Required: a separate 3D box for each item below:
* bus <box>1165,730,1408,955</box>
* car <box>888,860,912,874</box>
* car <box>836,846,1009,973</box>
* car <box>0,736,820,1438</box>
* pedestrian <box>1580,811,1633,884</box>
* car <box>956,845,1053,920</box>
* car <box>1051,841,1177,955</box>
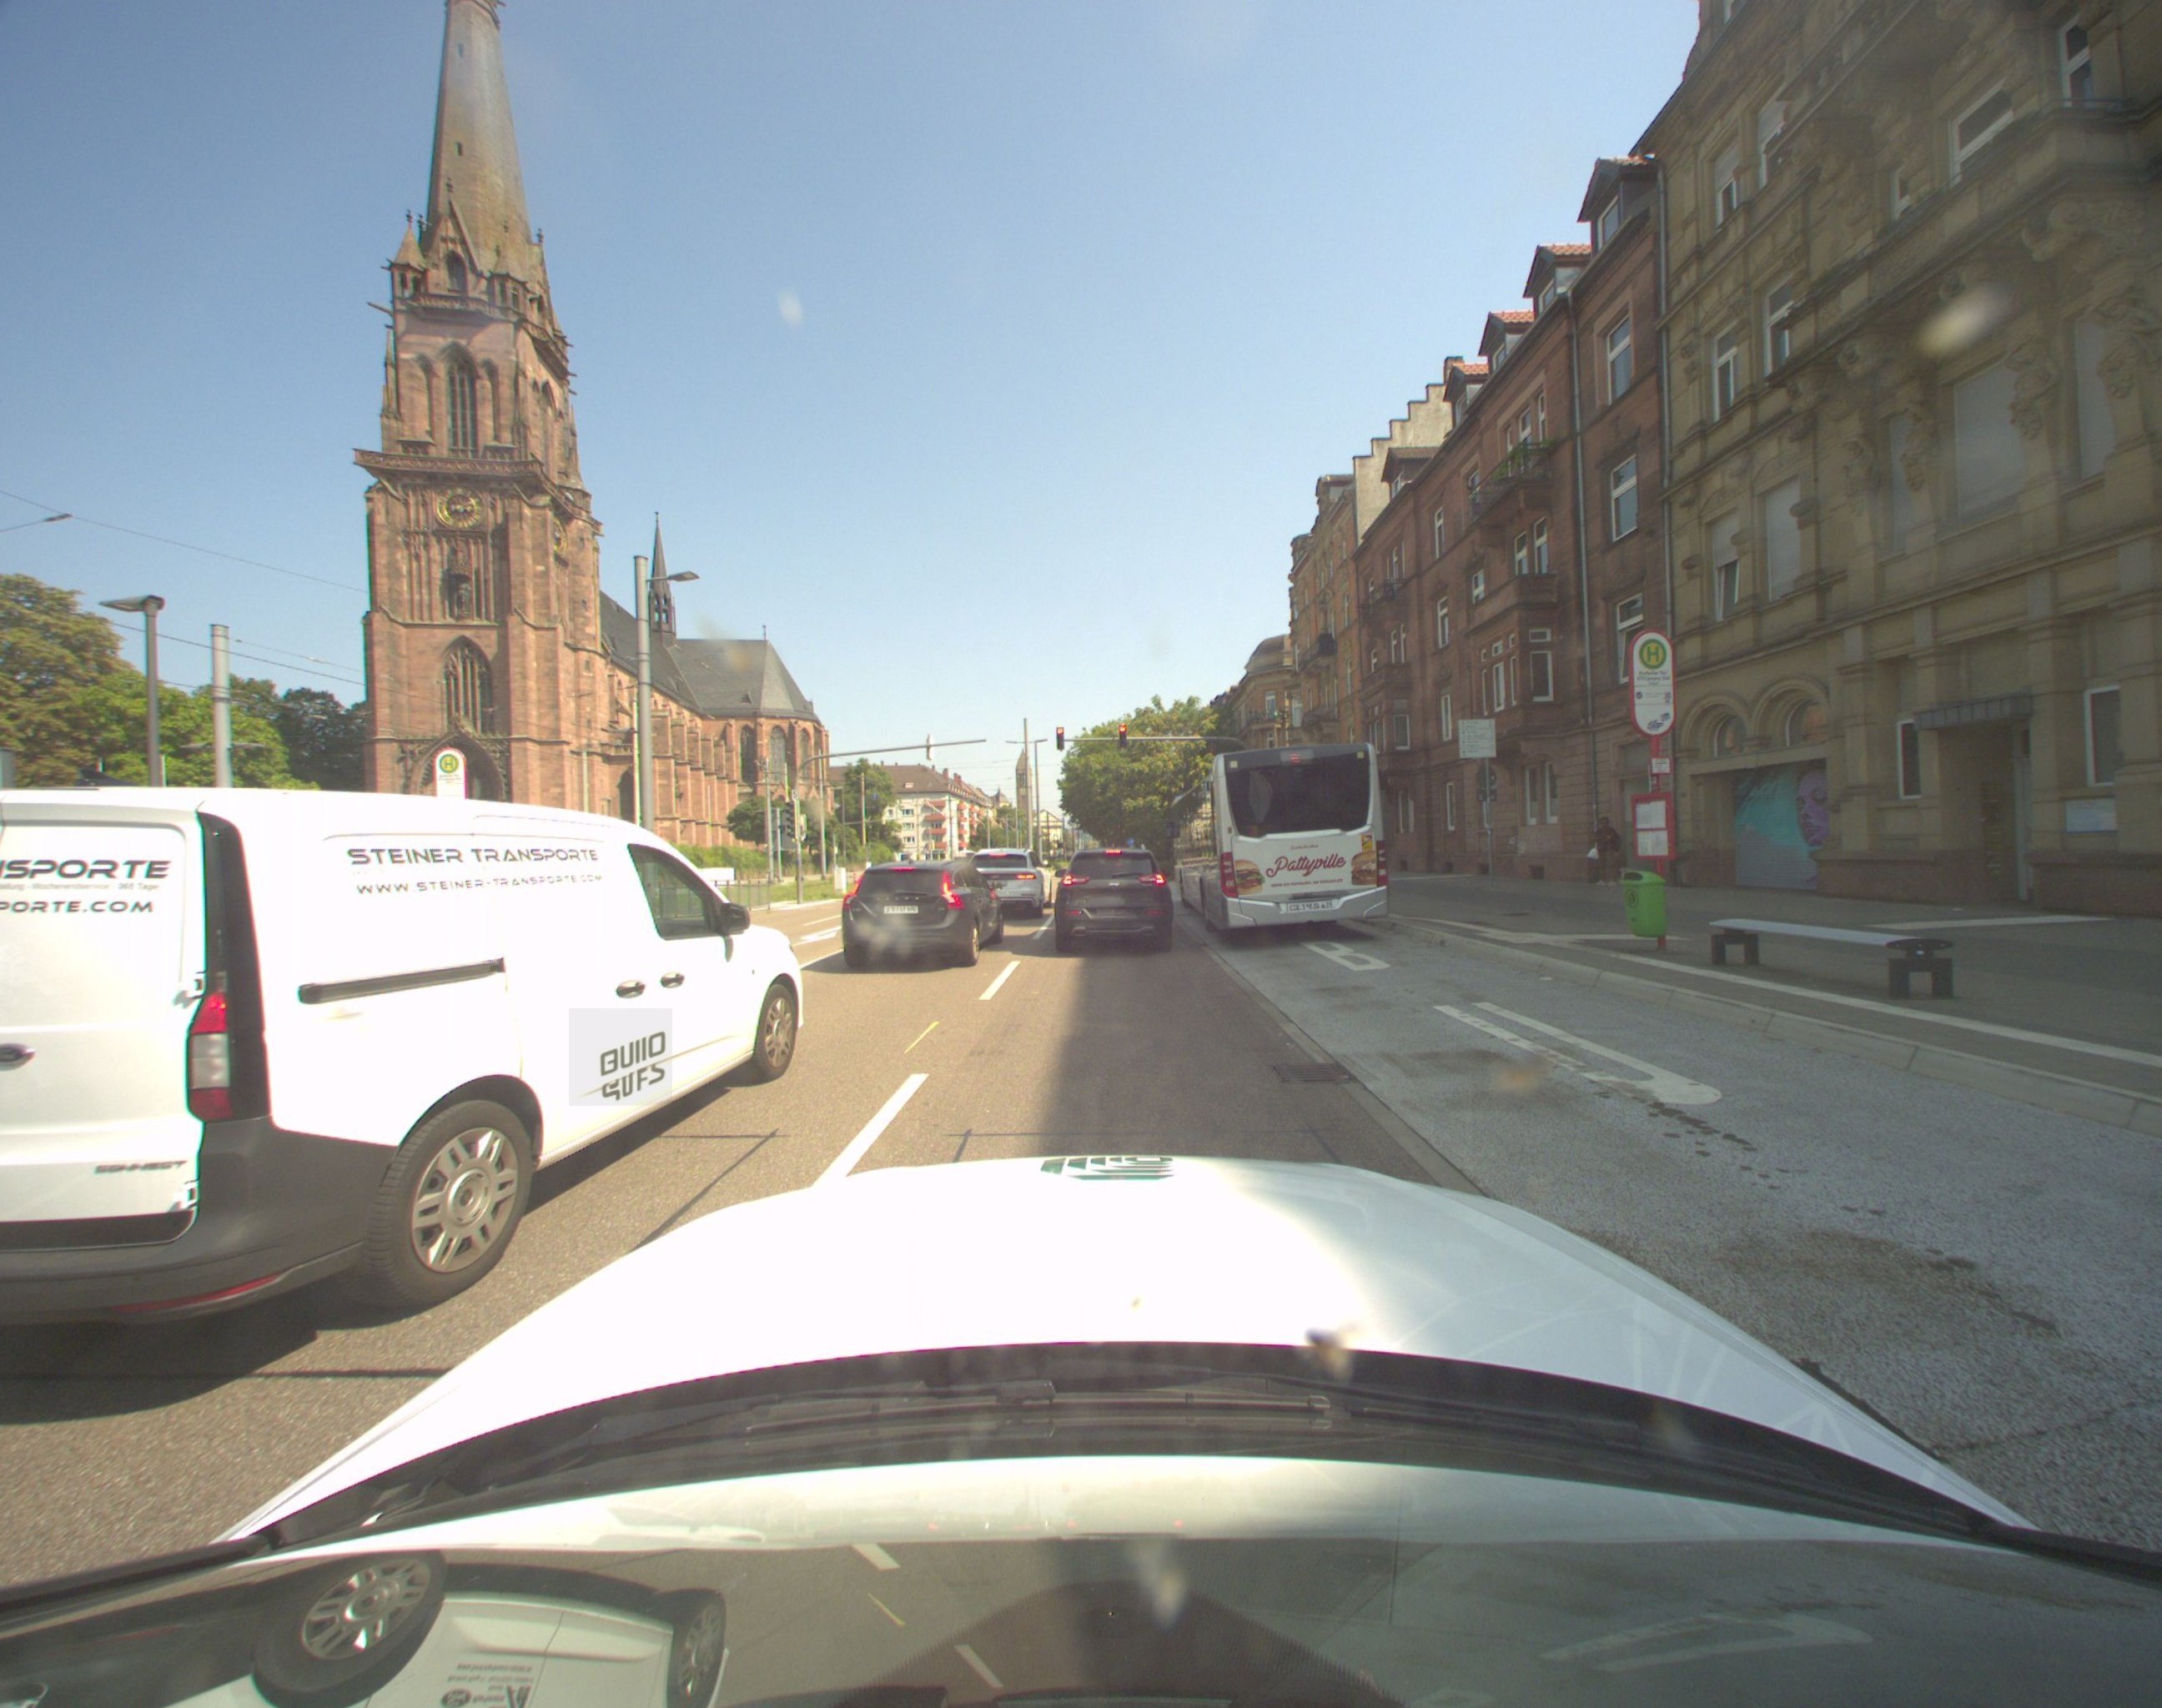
[{"bbox_3d":[3.644,-0.165,18.032,2.732,3.107,11.964,-5,0,3],"label":"bus"},{"bbox_3d":[-21.262,1.513,95.750,1.740,1.435,4.572,-3,0,0],"label":"car"},{"bbox_3d":[-2.245,0.714,12.702,1.741,1.614,4.309,-1,0,1],"label":"car"},{"bbox_3d":[-2.977,0.618,4.250,1.741,1.820,4.240,-1,0,1],"label":"car"},{"bbox_3d":[13.265,-0.171,20.562,0.872,1.778,0.737,-2,0,-26],"label":"pedestrian"},{"bbox_3d":[-1.799,0.640,20.509,1.895,1.651,4.309,-1,0,1],"label":"car"},{"bbox_3d":[0.572,0.639,14.080,1.825,1.651,4.311,-1,0,2],"label":"car"}]
